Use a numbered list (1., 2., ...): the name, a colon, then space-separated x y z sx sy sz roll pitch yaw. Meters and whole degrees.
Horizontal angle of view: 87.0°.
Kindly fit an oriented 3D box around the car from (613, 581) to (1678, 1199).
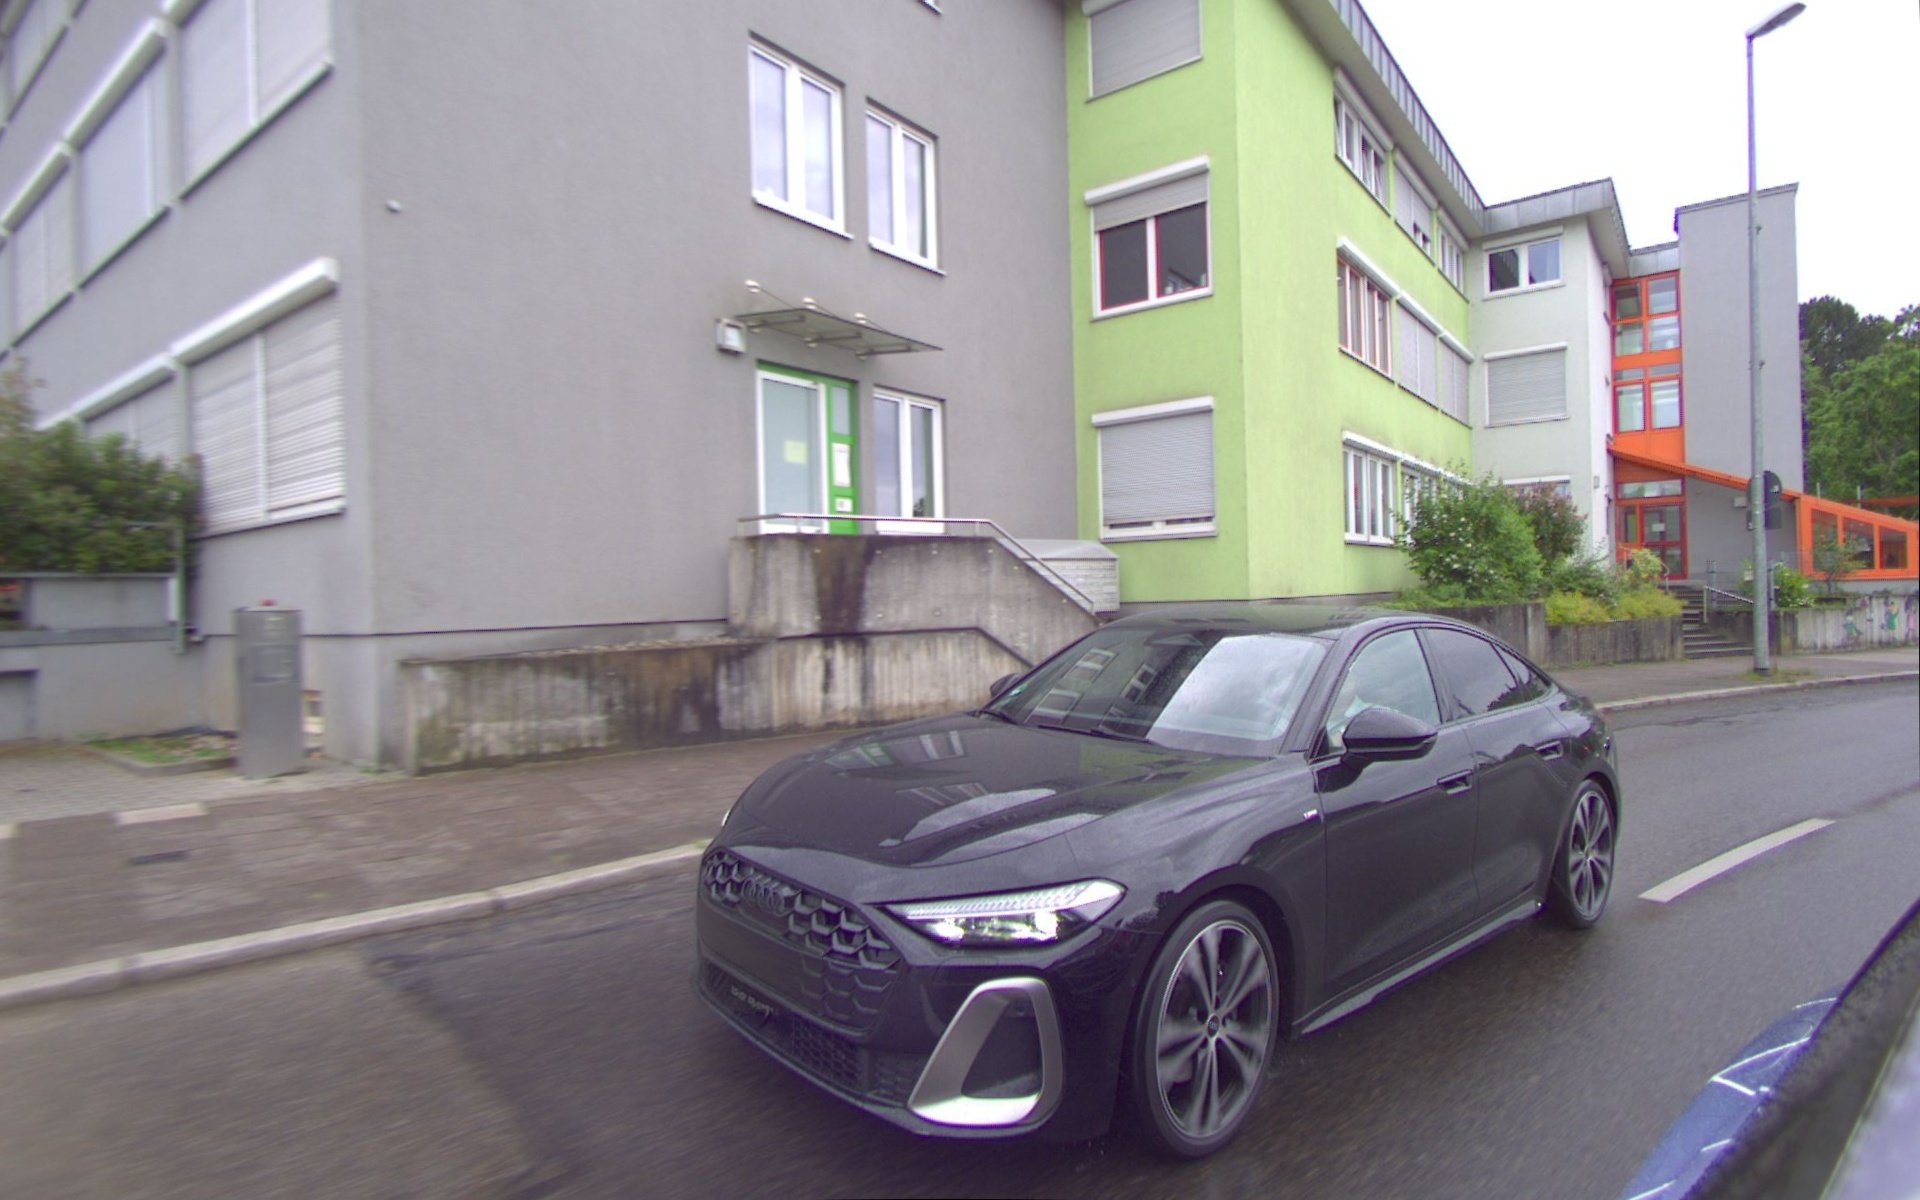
1. car: 1.199 0.722 4.259 4.656 1.442 1.870 -3 2 -40
